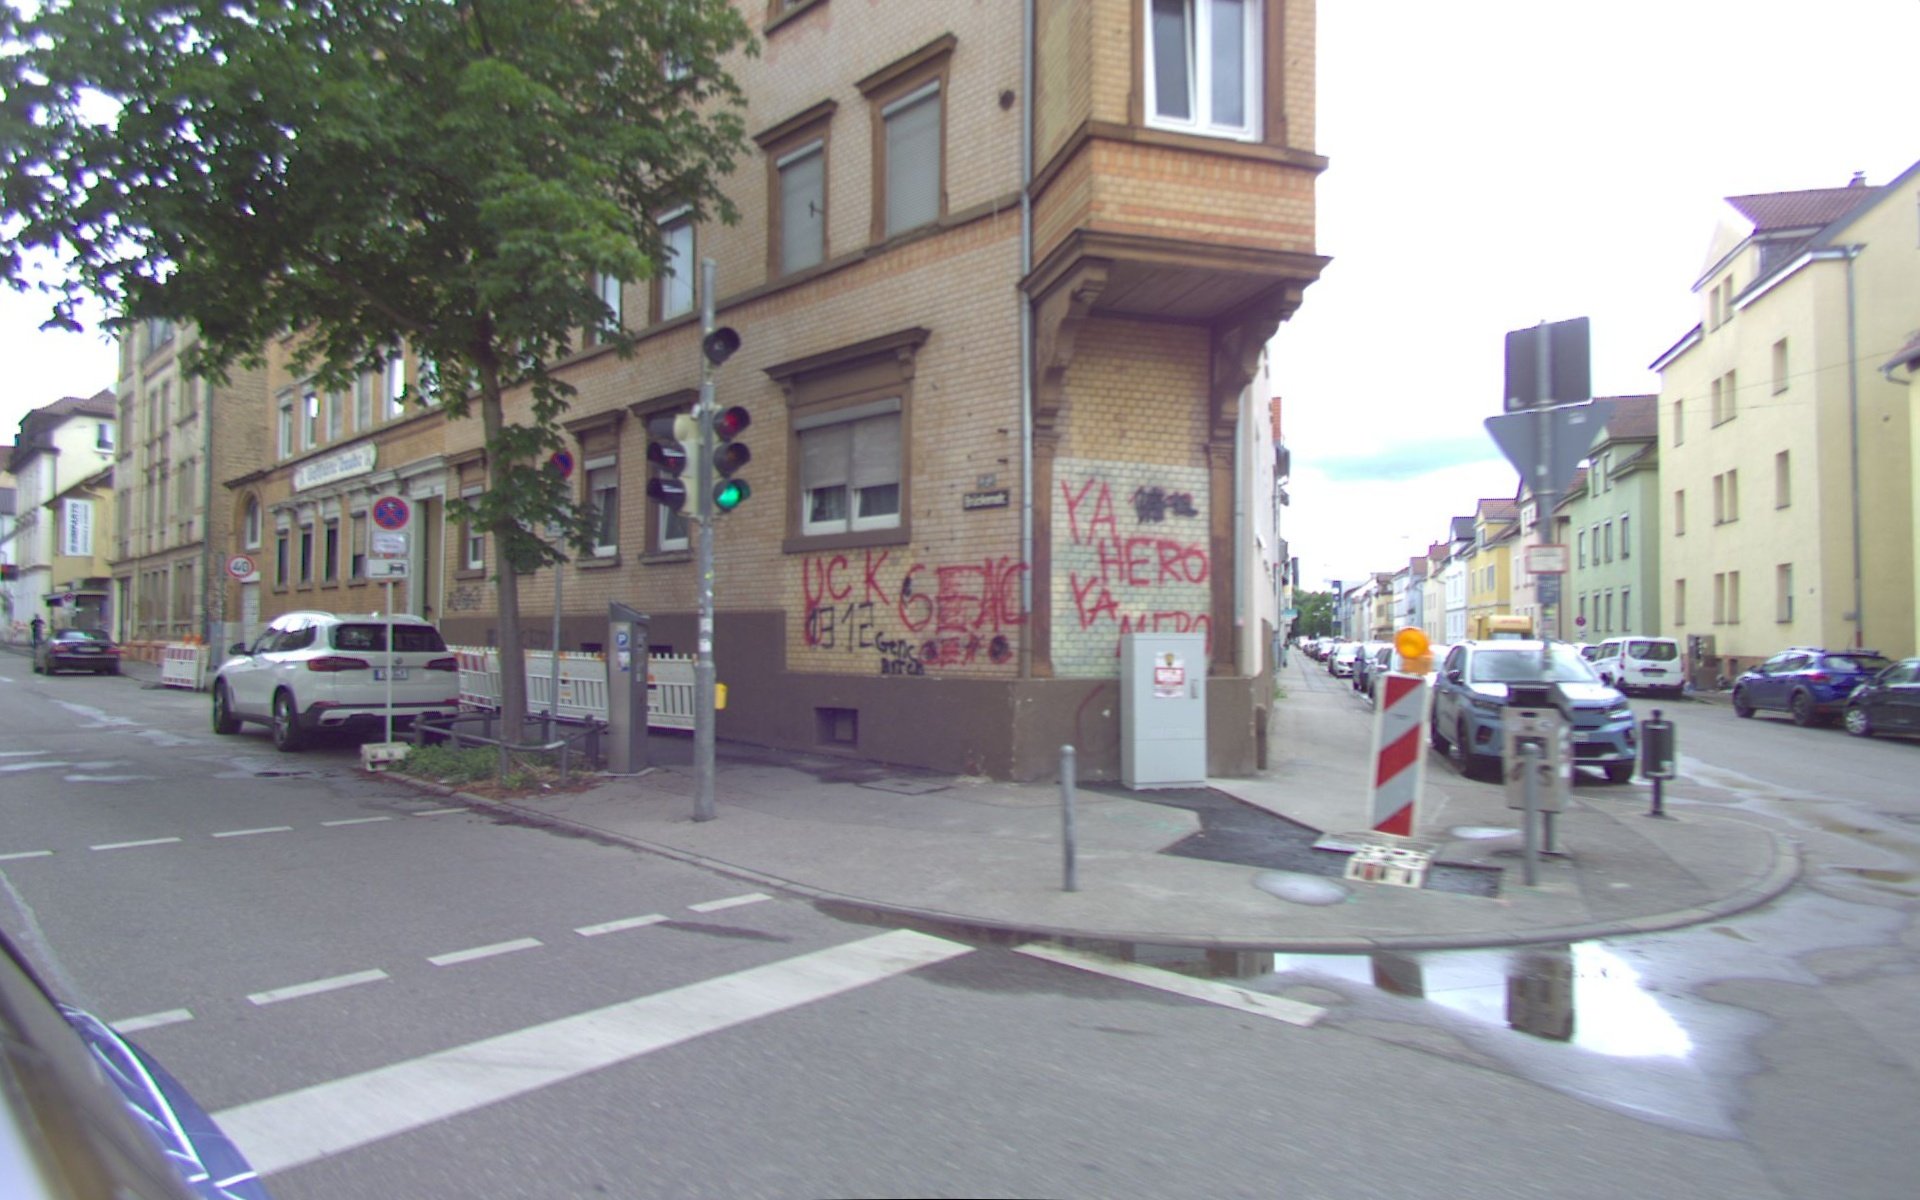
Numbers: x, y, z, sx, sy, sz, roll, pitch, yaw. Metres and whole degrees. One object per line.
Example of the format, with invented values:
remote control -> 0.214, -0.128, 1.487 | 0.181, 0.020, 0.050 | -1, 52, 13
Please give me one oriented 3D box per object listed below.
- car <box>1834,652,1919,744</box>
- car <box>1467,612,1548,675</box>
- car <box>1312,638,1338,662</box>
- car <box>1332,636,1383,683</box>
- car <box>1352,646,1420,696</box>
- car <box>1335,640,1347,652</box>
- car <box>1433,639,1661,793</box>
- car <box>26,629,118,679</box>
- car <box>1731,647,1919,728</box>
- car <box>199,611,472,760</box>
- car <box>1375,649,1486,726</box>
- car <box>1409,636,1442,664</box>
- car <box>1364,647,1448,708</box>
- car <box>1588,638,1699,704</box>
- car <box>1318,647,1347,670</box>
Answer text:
car -> 16.339, 1.594, 16.372 | 1.895, 1.455, 3.666 | 0, -2, 16
car -> 26.071, 2.059, 48.454 | 2.308, 2.776, 6.829 | 0, -2, 19
car -> 29.322, 4.017, 81.342 | 1.801, 1.894, 3.654 | 0, -2, 17
car -> 17.198, 2.545, 43.896 | 1.801, 1.894, 3.654 | 0, -2, 17
car -> 13.462, 2.243, 32.155 | 1.745, 1.465, 3.824 | 0, -4, 19
car -> 66.434, 8.003, 176.546 | 1.985, 2.029, 3.973 | 0, -2, 20
car -> 7.064, 1.282, 12.589 | 1.762, 1.563, 3.698 | 0, -2, 19
car -> -27.093, 1.630, 30.817 | 4.353, 1.393, 1.562 | -1, -4, 42
car -> 17.689, 1.714, 20.627 | 1.895, 1.455, 3.656 | 0, -2, 16
car -> -8.778, 1.082, 14.038 | 4.739, 1.725, 1.871 | -1, -4, 42
car -> 9.907, 1.809, 21.571 | 1.745, 1.465, 3.824 | 0, -4, 19
car -> 35.463, 3.795, 77.199 | 1.985, 2.029, 3.973 | 0, -2, 20
car -> 11.870, 2.046, 27.124 | 1.745, 1.465, 3.824 | 0, -4, 19
car -> 21.044, 2.139, 31.313 | 1.801, 1.894, 3.655 | 0, -2, 17
car -> 24.824, 3.893, 67.492 | 1.745, 1.465, 3.824 | 0, -4, 19
